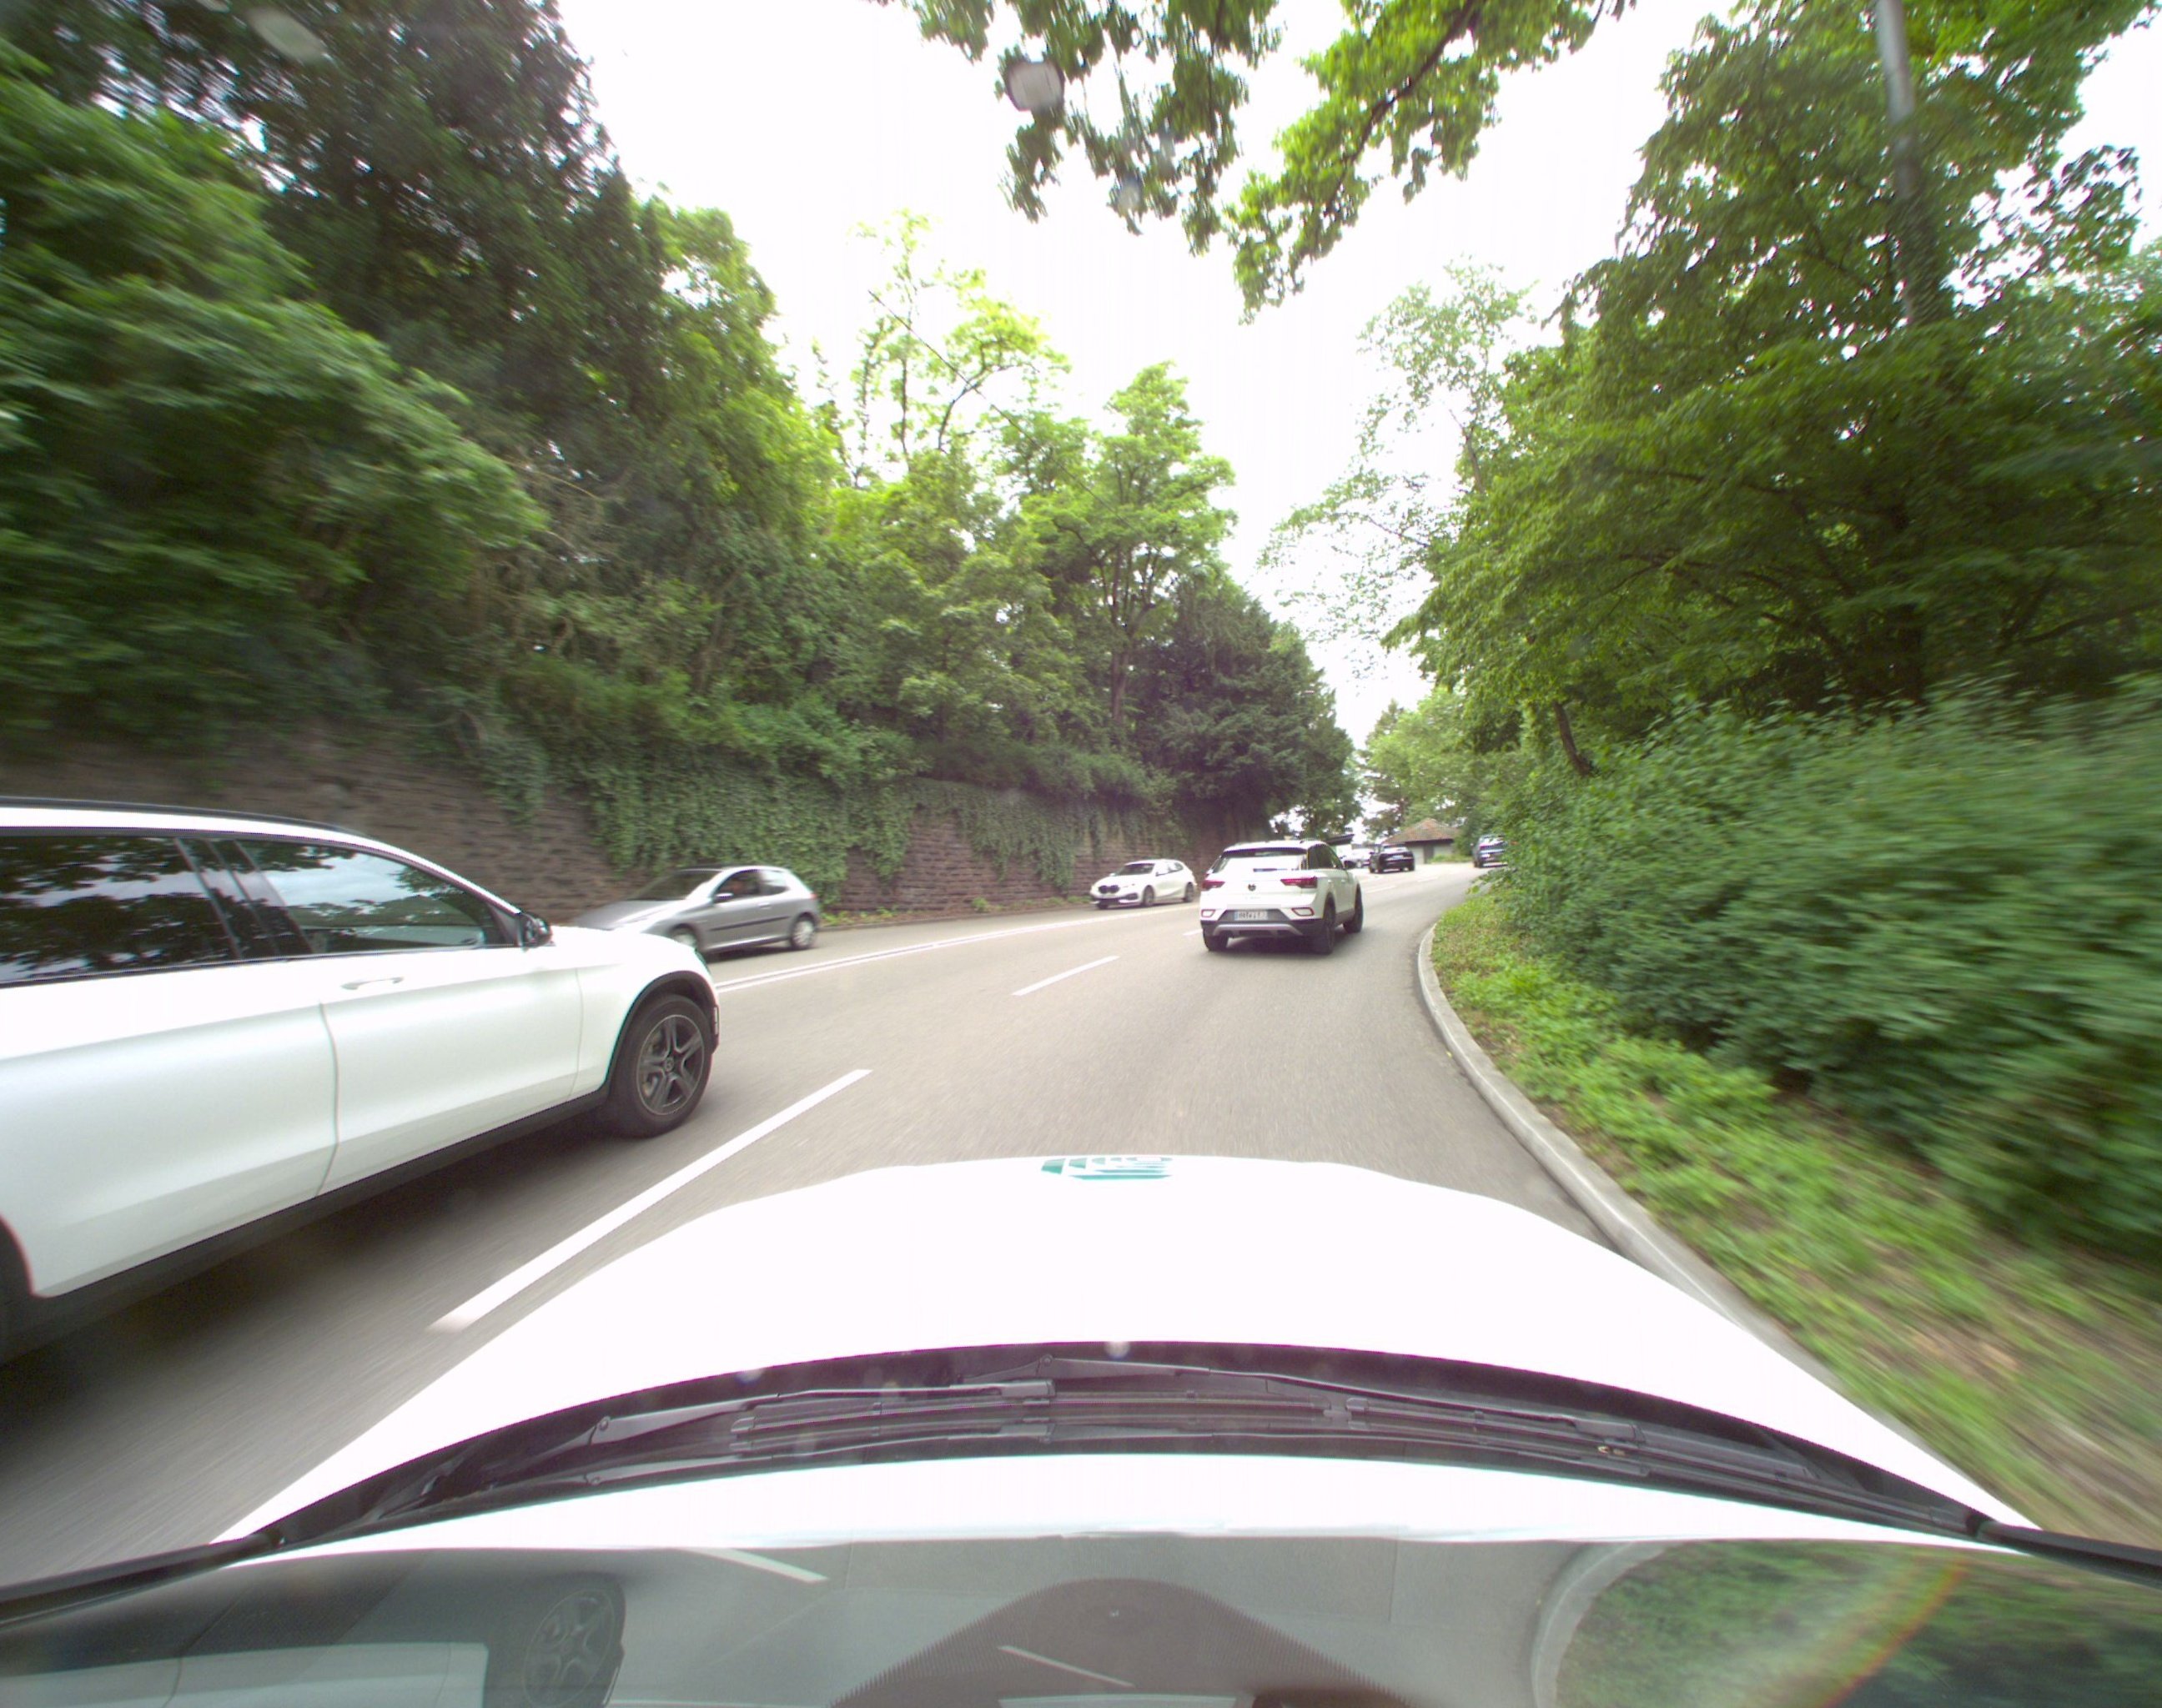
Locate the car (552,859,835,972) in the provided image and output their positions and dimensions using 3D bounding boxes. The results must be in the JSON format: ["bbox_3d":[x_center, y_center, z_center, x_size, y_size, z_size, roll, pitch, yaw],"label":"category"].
[{"bbox_3d":[-5.645,0.812,12.396,1.592,1.418,3.775,-1,-1,22],"label":"car"}]

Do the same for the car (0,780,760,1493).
[{"bbox_3d":[-3.239,0.648,2.972,1.849,1.605,4.679,0,-1,6],"label":"car"}]

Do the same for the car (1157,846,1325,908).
[{"bbox_3d":[4.521,0.601,22.671,4.799,1.534,1.849,-1,-2,-38],"label":"car"}]

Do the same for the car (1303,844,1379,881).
[{"bbox_3d":[13.251,0.393,41.366,1.832,1.649,4.538,-5,-2,43],"label":"car"}]

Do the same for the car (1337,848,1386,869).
[{"bbox_3d":[20.726,0.310,60.319,1.630,1.420,3.837,2,0,-14],"label":"car"}]

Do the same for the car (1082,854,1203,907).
[{"bbox_3d":[2.037,0.799,25.791,1.729,1.416,4.357,-6,-3,35],"label":"car"}]

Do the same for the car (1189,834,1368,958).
[{"bbox_3d":[3.252,0.484,12.708,1.738,1.552,4.364,0,2,27],"label":"car"}]

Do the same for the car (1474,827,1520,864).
[{"bbox_3d":[19.773,-0.357,38.812,1.654,1.501,4.046,-7,-4,24],"label":"car"}]

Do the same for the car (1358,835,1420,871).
[{"bbox_3d":[17.501,-0.006,46.455,1.953,1.763,4.226,-6,-1,3],"label":"car"}]

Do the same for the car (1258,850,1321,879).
[{"bbox_3d":[14.197,0.738,55.692,1.868,1.597,4.600,-4,-3,-18],"label":"car"}]
